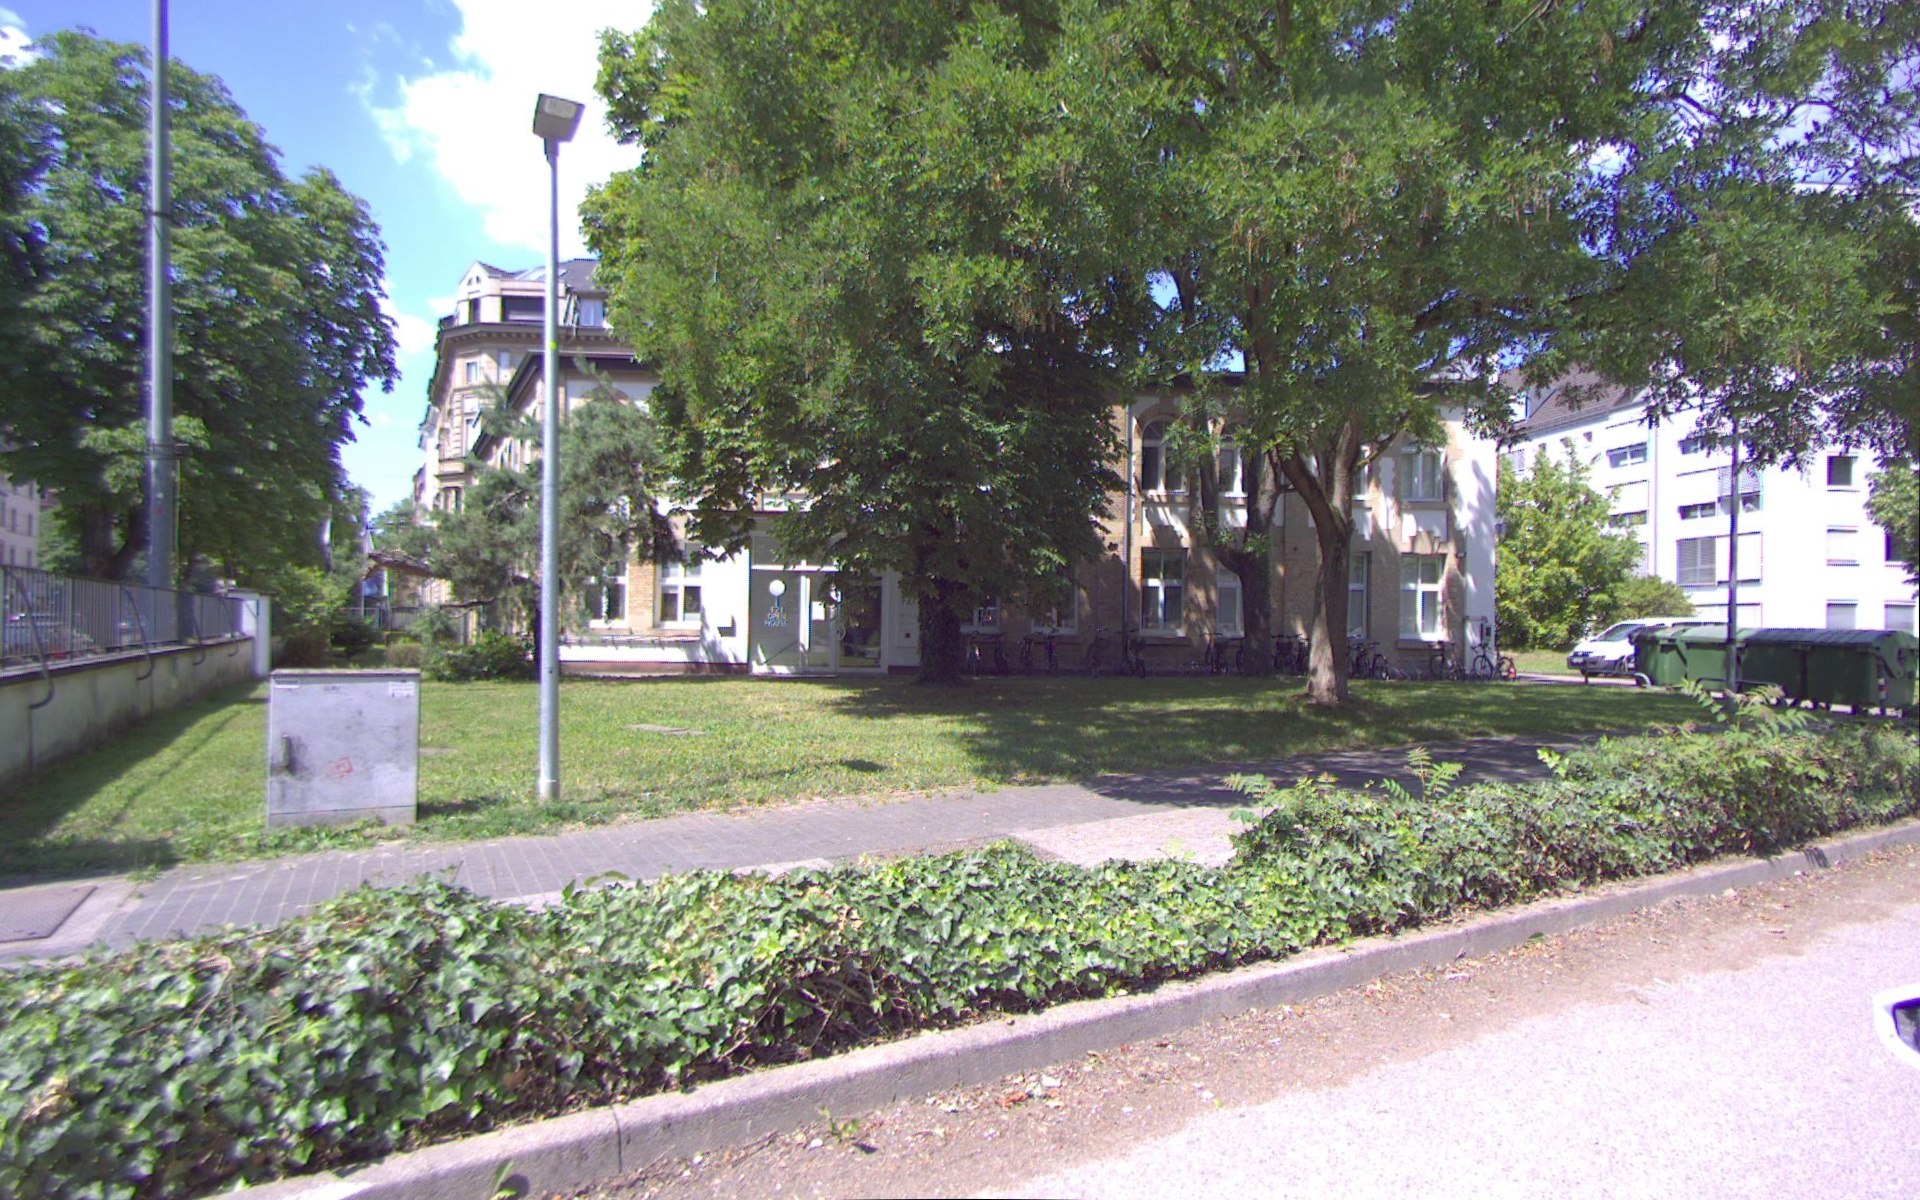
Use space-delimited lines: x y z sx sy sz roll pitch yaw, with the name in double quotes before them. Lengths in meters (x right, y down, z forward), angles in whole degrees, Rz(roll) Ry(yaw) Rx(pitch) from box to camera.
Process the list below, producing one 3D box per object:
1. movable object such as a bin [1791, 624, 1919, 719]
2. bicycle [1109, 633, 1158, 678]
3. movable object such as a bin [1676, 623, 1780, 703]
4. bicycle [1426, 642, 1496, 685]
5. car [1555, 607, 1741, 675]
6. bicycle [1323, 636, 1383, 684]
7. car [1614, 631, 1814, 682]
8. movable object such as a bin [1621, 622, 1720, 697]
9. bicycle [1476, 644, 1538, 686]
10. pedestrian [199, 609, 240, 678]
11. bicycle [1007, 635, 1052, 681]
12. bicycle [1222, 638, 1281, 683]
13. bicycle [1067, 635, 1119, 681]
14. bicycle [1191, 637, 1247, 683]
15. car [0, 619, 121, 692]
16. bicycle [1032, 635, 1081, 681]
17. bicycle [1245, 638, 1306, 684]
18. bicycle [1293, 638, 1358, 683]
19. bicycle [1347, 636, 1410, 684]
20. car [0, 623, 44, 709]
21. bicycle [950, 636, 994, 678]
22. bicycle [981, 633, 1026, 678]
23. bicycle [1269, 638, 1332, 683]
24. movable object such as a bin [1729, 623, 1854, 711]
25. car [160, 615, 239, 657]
"movable object such as a bin" 14.919 1.148 16.635 1.185 1.499 1.324 0 -1 -6
"bicycle" 4.258 1.344 24.814 0.596 1.025 2.258 1 -1 -6
"movable object such as a bin" 14.790 1.189 19.375 1.027 1.499 1.261 0 -1 -2
"bicycle" 12.579 1.568 25.303 0.595 0.971 2.260 1 -1 -1
"car" 21.982 1.300 32.222 4.682 2.040 2.000 1 -2 -3
"bicycle" 9.848 1.473 25.256 0.595 1.096 2.260 1 -1 -1
"car" 21.831 1.615 29.202 4.537 1.370 1.833 1 -1 -3
"movable object such as a bin" 14.724 1.211 20.865 1.027 1.499 1.410 0 -1 -2
"bicycle" 13.787 1.631 25.380 0.602 0.971 1.730 1 -1 -1
"pedestrian" -17.262 1.001 23.440 0.690 1.588 0.737 1 -1 -32
"bicycle" 1.685 1.395 24.698 0.560 1.025 2.256 1 -1 -10
"bicycle" 7.185 1.473 24.894 0.596 1.025 2.258 1 -1 -6
"bicycle" 3.265 1.416 24.845 0.596 1.025 2.256 1 -1 -10
"bicycle" 6.393 1.463 24.899 0.596 1.025 2.258 1 -1 -6
"car" -20.173 1.159 22.067 1.928 1.463 3.746 0 -1 -28
"bicycle" 2.349 1.396 24.754 0.596 1.025 2.256 1 -1 -10
"bicycle" 7.816 1.494 24.992 0.596 1.025 2.258 1 -1 -6
"bicycle" 9.110 1.495 25.138 0.596 1.025 2.258 1 -1 -6
"bicycle" 10.479 1.472 25.244 0.595 1.096 2.260 1 -1 -1
"car" -16.976 1.109 16.502 1.861 1.437 4.120 0 -1 -28
"bicycle" 0.272 1.360 24.335 0.644 0.902 2.256 1 -1 -10
"bicycle" 1.042 1.337 24.630 0.621 1.025 2.255 1 -1 -10
"bicycle" 8.467 1.486 25.090 0.596 1.025 2.258 1 -1 -6
"movable object such as a bin" 14.843 1.168 17.970 1.077 1.499 1.357 0 -1 -13
"car" -31.177 1.449 41.299 1.705 1.636 3.977 0 -1 -24
